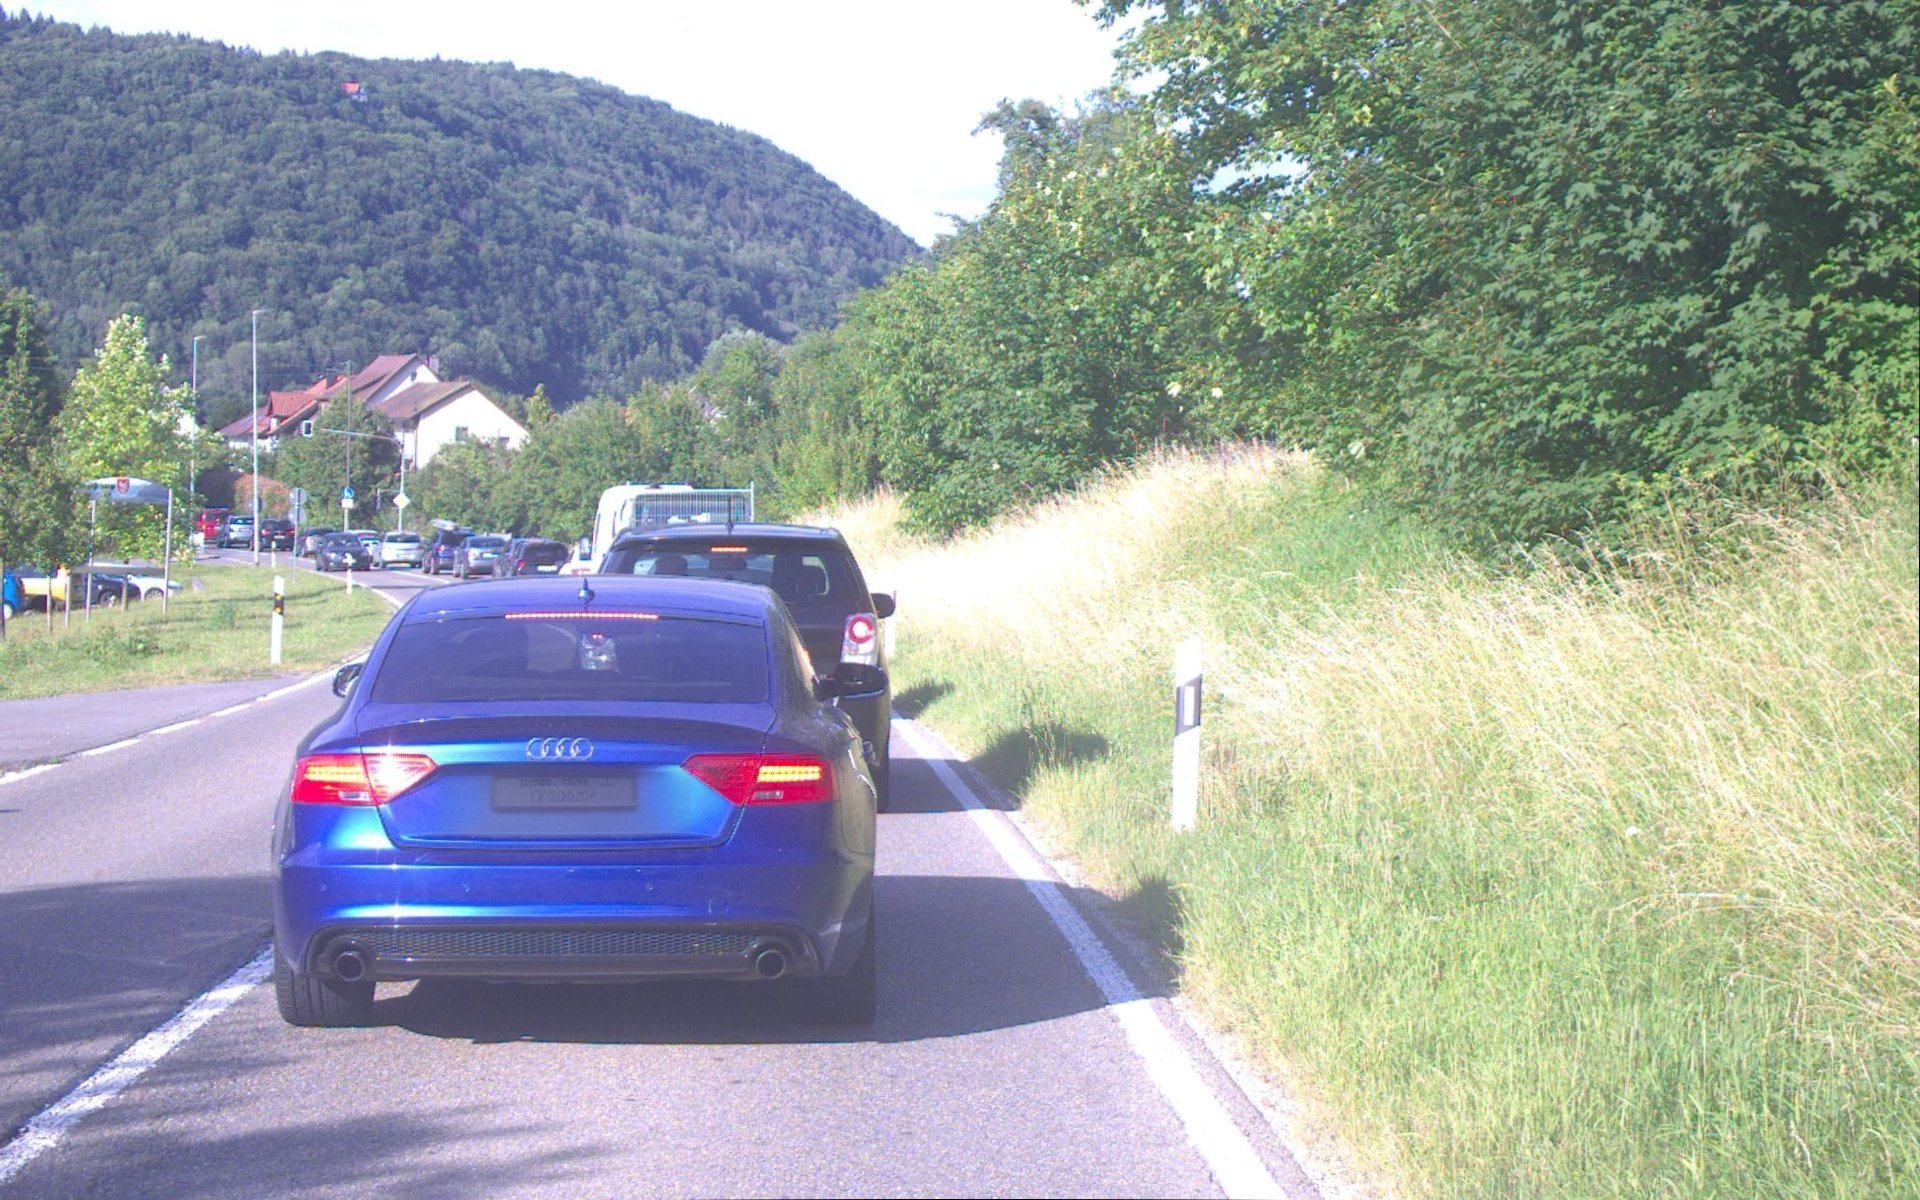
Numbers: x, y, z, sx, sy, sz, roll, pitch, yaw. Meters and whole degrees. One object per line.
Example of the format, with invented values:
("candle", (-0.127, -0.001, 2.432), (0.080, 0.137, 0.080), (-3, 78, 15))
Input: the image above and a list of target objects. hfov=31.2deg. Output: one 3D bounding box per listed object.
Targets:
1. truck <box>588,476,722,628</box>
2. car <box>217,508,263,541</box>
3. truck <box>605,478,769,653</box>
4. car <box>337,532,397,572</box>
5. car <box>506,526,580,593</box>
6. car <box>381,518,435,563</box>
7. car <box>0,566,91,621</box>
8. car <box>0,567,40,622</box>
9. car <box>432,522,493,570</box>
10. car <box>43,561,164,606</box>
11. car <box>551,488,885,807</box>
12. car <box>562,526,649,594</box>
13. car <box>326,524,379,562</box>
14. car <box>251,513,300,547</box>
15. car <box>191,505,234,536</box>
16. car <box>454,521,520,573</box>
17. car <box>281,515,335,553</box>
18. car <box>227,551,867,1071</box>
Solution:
("truck", (-5.553, -0.850, 61.889), (2.229, 2.561, 6.709), (1, 1, -6))
("car", (-39.026, -4.089, 186.350), (1.845, 1.706, 4.001), (1, 1, -20))
("truck", (-4.198, -0.536, 53.765), (2.230, 2.561, 6.104), (1, 1, -2))
("car", (-25.808, -2.086, 149.561), (1.845, 1.706, 4.001), (1, 1, -20))
("car", (-10.927, -1.053, 89.972), (1.845, 1.706, 4.001), (1, 1, -8))
("car", (-21.889, -2.350, 136.266), (1.845, 1.706, 4.001), (1, 1, -13))
("car", (-29.960, -0.208, 109.754), (3.986, 1.705, 2.000), (1, 0, -4))
("car", (-30.910, -0.194, 107.214), (3.986, 1.705, 2.000), (1, 0, -4))
("car", (-18.005, -1.943, 124.252), (1.845, 1.706, 4.001), (1, 1, -13))
("car", (-30.925, -0.602, 124.225), (3.986, 1.573, 1.753), (1, 0, -4))
("car", (-1.340, 0.234, 20.196), (1.754, 1.675, 3.847), (1, 1, -2))
("car", (-8.068, -0.902, 78.051), (1.845, 1.477, 4.001), (1, 1, -8))
("car", (-22.996, -2.148, 130.081), (1.703, 1.425, 4.052), (1, 1, -14))
("car", (-35.277, -3.589, 177.036), (1.845, 1.706, 4.001), (1, 1, -20))
("car", (-42.539, -4.534, 195.537), (1.845, 1.706, 4.001), (1, 1, -20))
("car", (-16.078, -1.806, 116.757), (1.845, 1.706, 4.001), (1, 1, -13))
("car", (-30.804, -3.103, 162.340), (1.845, 1.706, 4.001), (1, 1, -20))
("car", (-1.196, 0.568, 11.455), (1.754, 1.425, 3.847), (1, 1, -2))
